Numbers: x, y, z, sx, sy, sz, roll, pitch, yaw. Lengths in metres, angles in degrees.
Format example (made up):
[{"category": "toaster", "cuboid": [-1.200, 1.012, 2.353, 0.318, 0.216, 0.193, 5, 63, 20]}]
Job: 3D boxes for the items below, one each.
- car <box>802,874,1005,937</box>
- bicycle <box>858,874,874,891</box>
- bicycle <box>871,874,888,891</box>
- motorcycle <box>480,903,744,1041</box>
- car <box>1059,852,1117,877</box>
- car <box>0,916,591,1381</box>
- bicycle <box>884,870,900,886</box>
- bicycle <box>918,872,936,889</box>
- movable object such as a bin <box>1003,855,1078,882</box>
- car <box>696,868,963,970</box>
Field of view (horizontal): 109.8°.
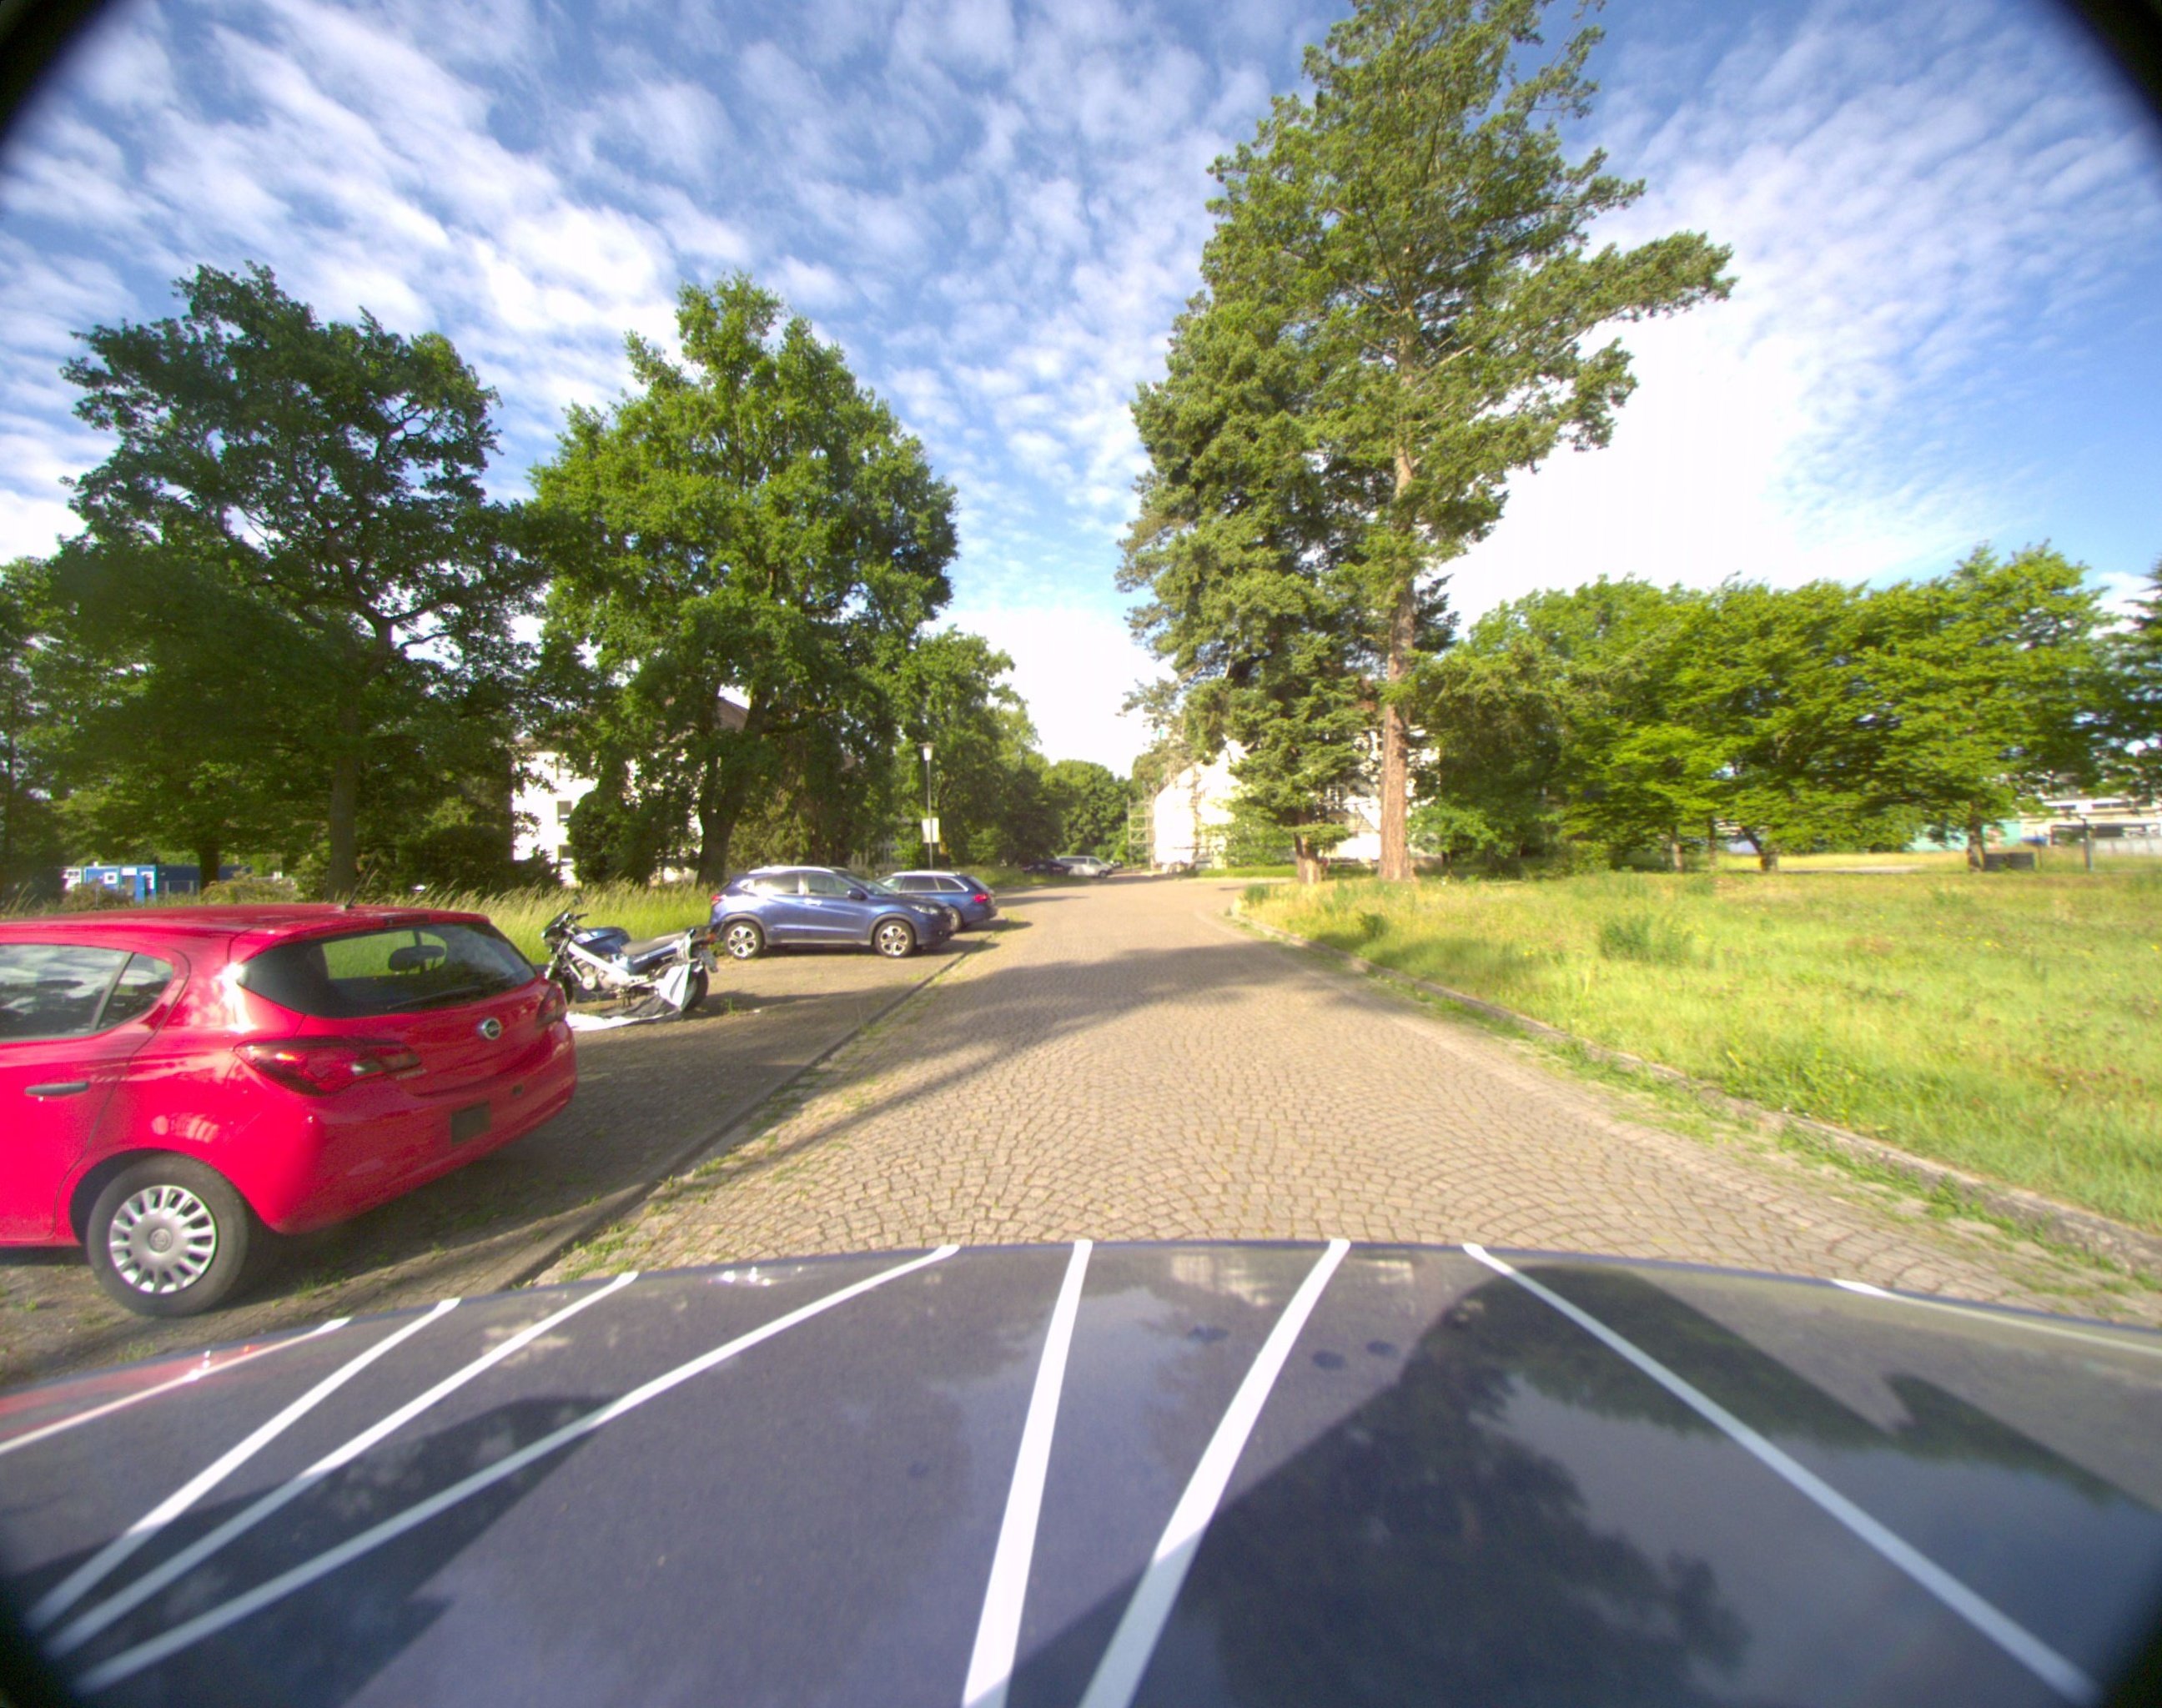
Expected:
[{"category": "car", "cuboid": [-4.211, 1.222, 18.423, 4.459, 1.399, 1.714, 0, 0, 3]}, {"category": "bicycle", "cuboid": [-13.445, 1.804, 47.458, 0.619, 1.010, 1.027, -2, 0, 4]}, {"category": "bicycle", "cuboid": [-12.677, 1.779, 47.822, 0.710, 1.010, 1.028, -2, 0, 8]}, {"category": "motorcycle", "cuboid": [-4.883, 1.214, 8.015, 2.305, 1.312, 0.726, -1, 0, 0]}, {"category": "car", "cuboid": [0.623, 0.912, 67.252, 4.936, 2.002, 2.000, -2, 0, 1]}, {"category": "car", "cuboid": [-4.693, 1.106, 3.454, 3.837, 1.470, 1.645, -1, 0, 0]}, {"category": "bicycle", "cuboid": [-12.913, 1.645, 51.942, 0.712, 1.010, 1.024, -2, 0, -37]}, {"category": "bicycle", "cuboid": [-9.543, 1.626, 47.112, 0.710, 1.010, 1.257, -2, 0, 8]}, {"category": "movable object such as a bin", "cuboid": [-2.874, 1.045, 54.304, 4.931, 1.749, 2.002, -2, 0, 15]}, {"category": "car", "cuboid": [-4.389, 1.122, 13.721, 4.187, 1.581, 1.751, -2, 0, 0]}]
